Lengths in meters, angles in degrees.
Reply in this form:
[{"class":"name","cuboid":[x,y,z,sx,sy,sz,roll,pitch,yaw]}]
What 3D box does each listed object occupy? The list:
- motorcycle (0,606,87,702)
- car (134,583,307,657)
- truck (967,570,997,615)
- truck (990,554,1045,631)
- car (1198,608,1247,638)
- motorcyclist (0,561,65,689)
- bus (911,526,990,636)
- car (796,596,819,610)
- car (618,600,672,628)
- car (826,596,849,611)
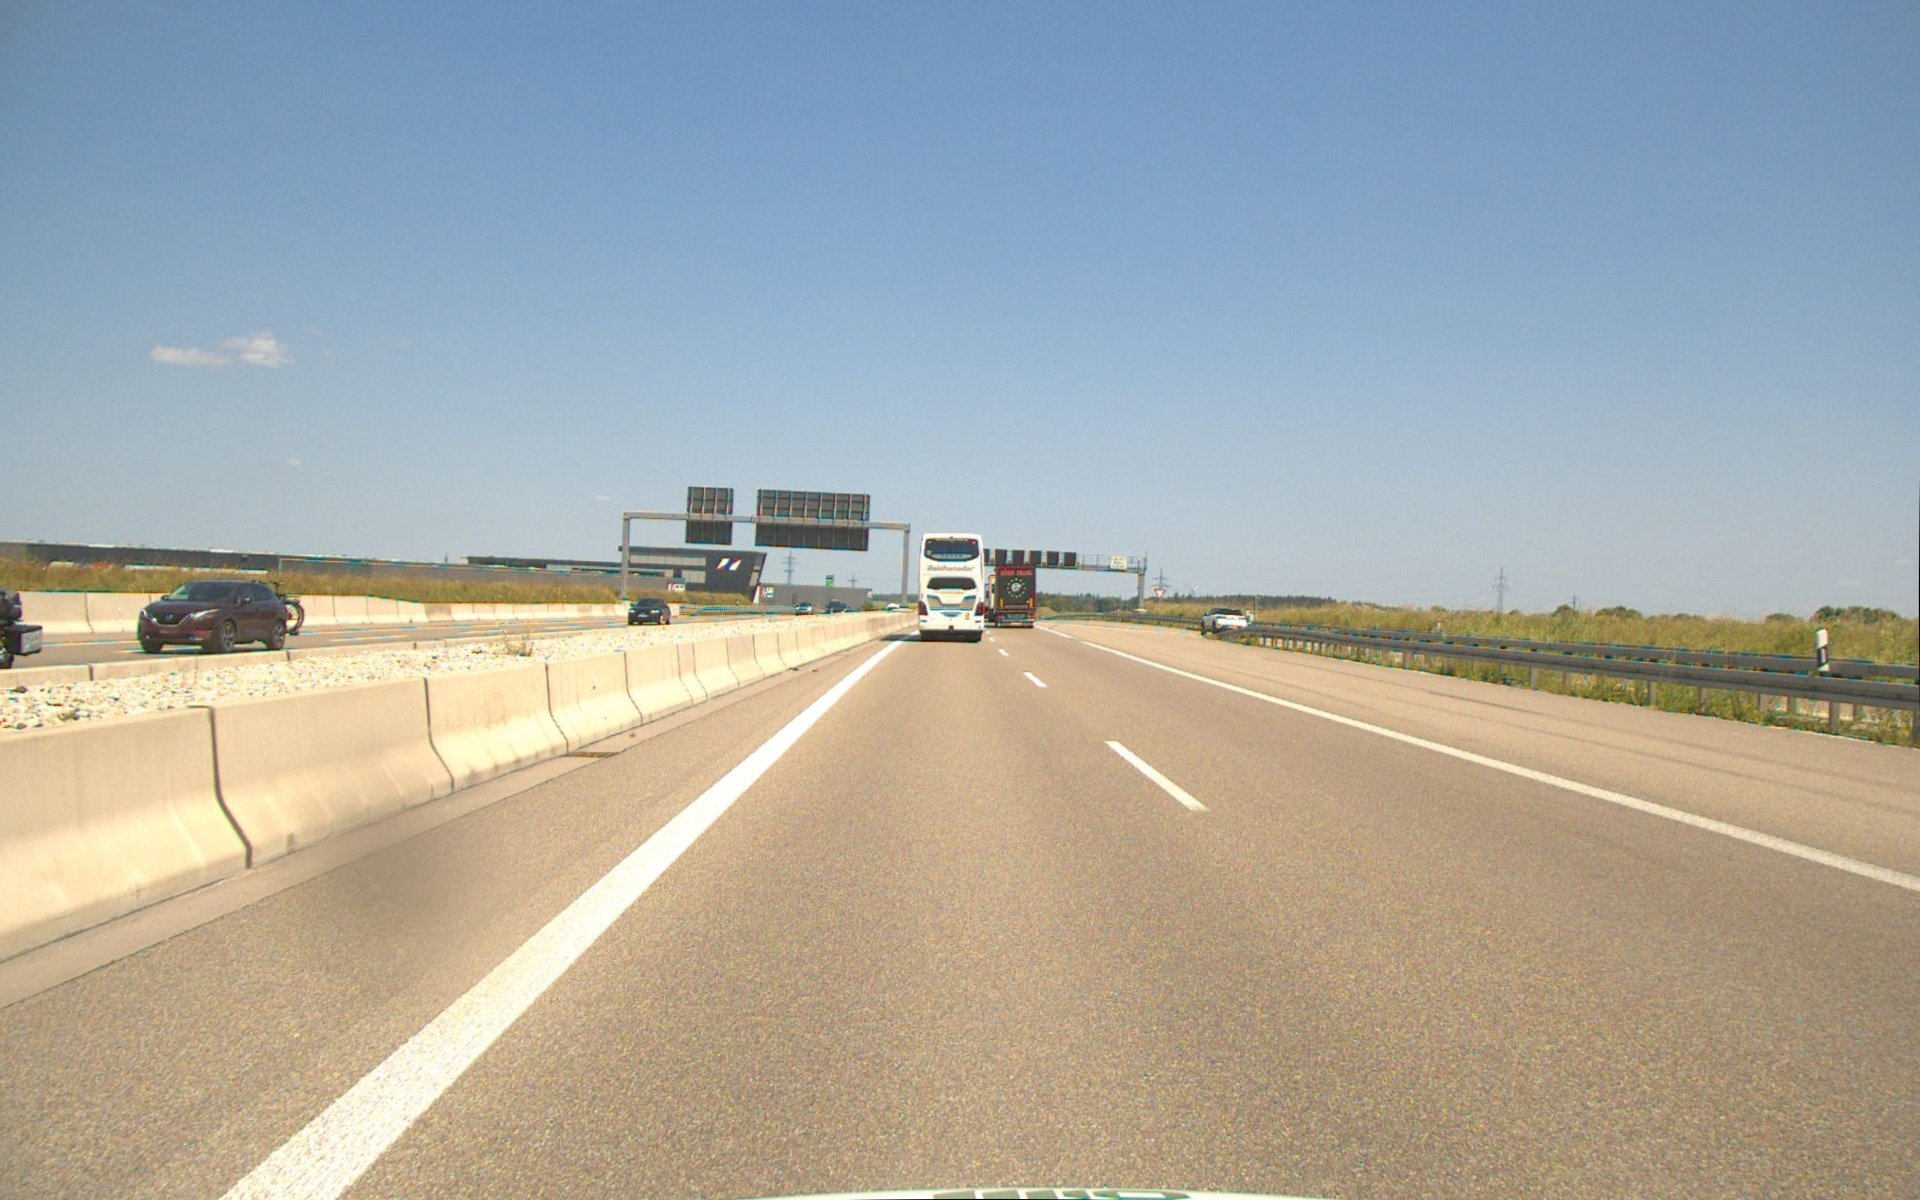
[{"class":"motorcycle","cuboid":[-12.638,0.689,21.658,0.938,1.189,2.722,1,0,0]},{"class":"car","cuboid":[-16.716,0.403,37.682,1.831,1.517,5.136,1,1,-3]},{"class":"truck","cuboid":[1.920,-0.642,144.517,2.388,3.855,6.492,1,0,-1]},{"class":"truck","cuboid":[3.787,-0.343,109.513,3.309,4.542,13.568,1,-2,2]},{"class":"car","cuboid":[14.085,1.223,88.912,1.853,1.556,4.260,1,0,-2]},{"class":"motorcyclist","cuboid":[-12.623,0.312,21.932,0.901,1.650,1.088,1,0,0]},{"class":"bus","cuboid":[-0.468,-0.707,66.283,2.920,4.044,9.102,1,0,-2]},{"class":"car","cuboid":[-15.592,0.275,169.239,1.852,1.352,3.986,1,0,1]},{"class":"car","cuboid":[-16.564,0.696,87.100,1.952,1.403,4.364,1,0,1]},{"class":"car","cuboid":[-12.116,0.308,163.539,1.806,1.406,4.753,1,0,2]}]
